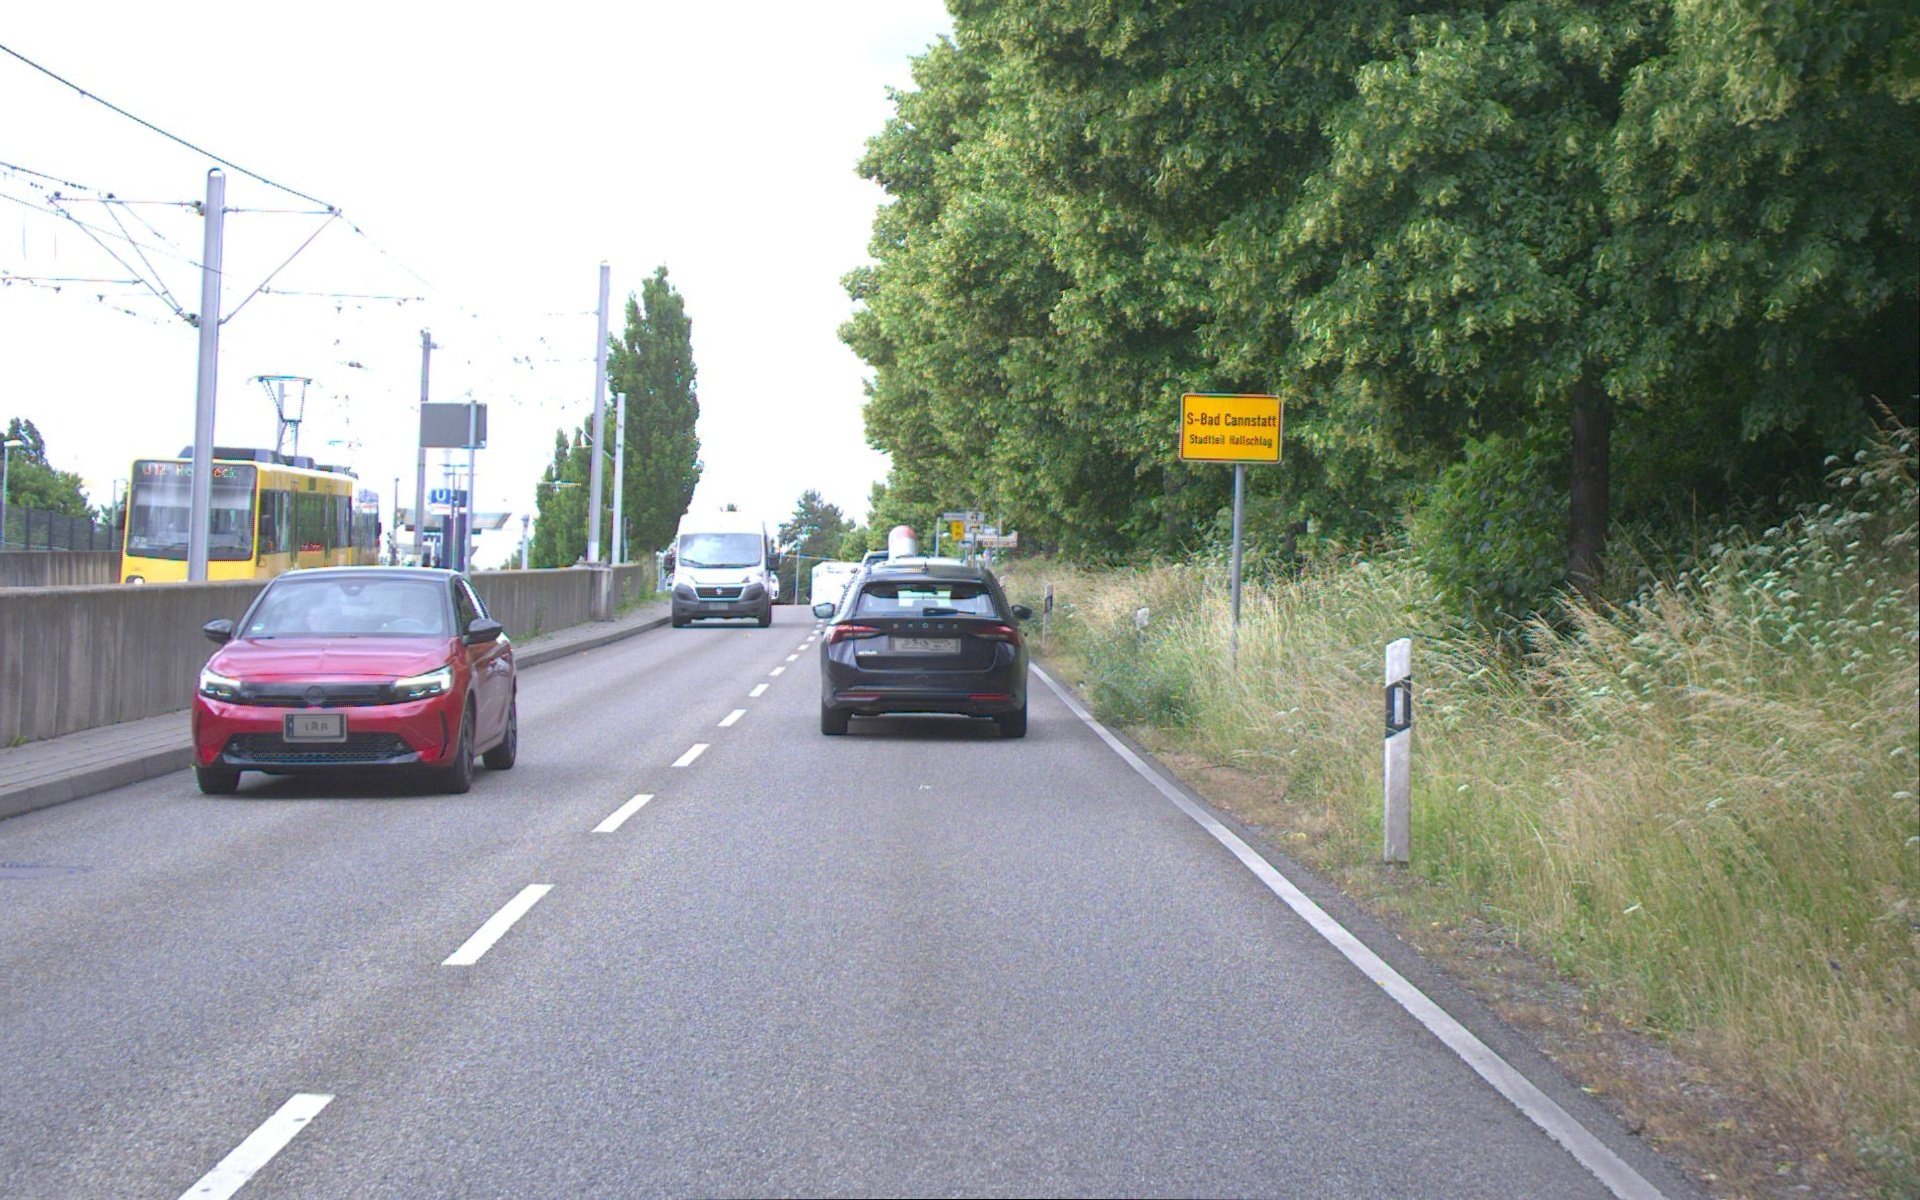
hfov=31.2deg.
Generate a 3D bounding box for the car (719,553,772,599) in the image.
[{"bbox_3d":[-7.409,-0.836,118.530,1.731,1.566,4.001,-1,1,-4],"label":"car"}]

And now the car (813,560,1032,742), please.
[{"bbox_3d":[-0.339,0.394,30.175,1.781,1.463,4.000,0,1,-1],"label":"car"}]

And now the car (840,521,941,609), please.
[{"bbox_3d":[-1.414,-0.699,70.089,1.993,1.734,4.000,0,0,-1],"label":"car"}]

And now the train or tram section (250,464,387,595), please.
[{"bbox_3d":[-16.746,-1.684,90.790,2.803,3.066,19.106,0,0,-8],"label":"train or tram section"}]

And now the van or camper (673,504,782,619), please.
[{"bbox_3d":[-5.037,-0.839,75.122,2.082,2.388,6.137,0,1,-1],"label":"van or camper"}]

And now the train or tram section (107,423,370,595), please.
[{"bbox_3d":[-14.764,-1.668,72.069,2.811,3.106,18.917,0,0,-4],"label":"train or tram section"}]

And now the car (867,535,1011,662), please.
[{"bbox_3d":[-0.321,-0.050,49.986,1.993,1.747,4.000,0,1,-1],"label":"car"}]

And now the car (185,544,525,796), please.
[{"bbox_3d":[-3.938,0.399,22.941,1.662,1.540,3.953,0,1,-1],"label":"car"}]
